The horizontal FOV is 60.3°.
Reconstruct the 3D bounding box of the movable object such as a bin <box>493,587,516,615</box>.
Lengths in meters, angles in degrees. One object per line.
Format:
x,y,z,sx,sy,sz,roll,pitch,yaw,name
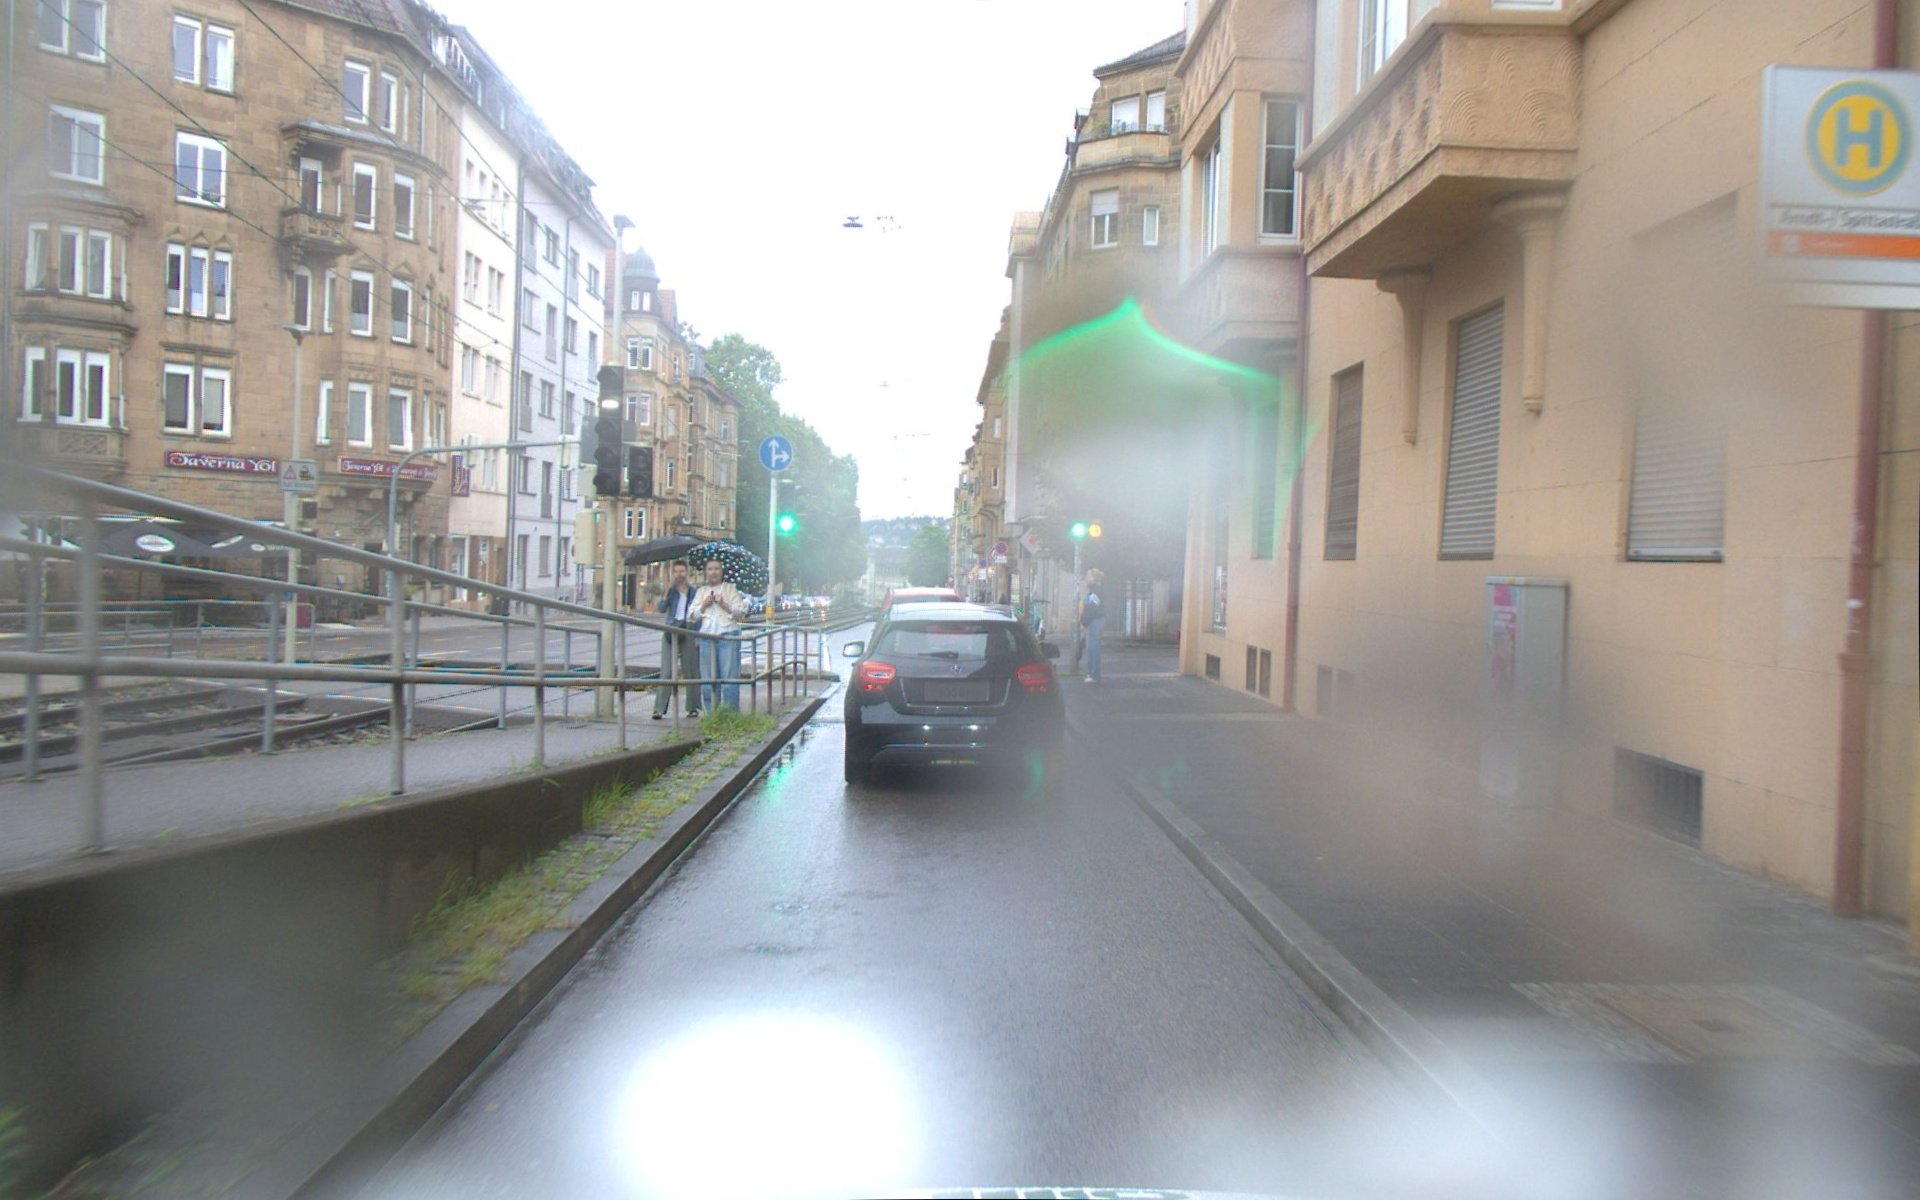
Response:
-18.894,0.055,68.662,0.698,1.092,0.687,4,0,-2,movable object such as a bin

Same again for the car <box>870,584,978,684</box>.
-0.558,0.513,27.127,1.616,1.477,4.000,1,0,0,car

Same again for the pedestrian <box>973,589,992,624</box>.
1.168,0.327,87.123,0.926,1.800,1.014,1,0,-3,pedestrian

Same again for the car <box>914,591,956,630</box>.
-1.054,0.434,69.594,1.729,1.586,4.744,0,0,-1,car

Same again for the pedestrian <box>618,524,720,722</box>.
-3.103,0.240,17.733,0.879,2.049,0.947,2,0,-1,pedestrian

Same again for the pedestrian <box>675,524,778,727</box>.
-2.437,0.262,17.383,0.907,2.049,0.947,2,0,-1,pedestrian

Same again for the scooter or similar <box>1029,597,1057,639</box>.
2.458,0.515,49.351,0.625,1.231,1.551,0,0,-5,scooter or similar

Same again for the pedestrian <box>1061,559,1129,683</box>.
2.116,0.326,26.011,0.945,1.872,0.902,-2,0,1,pedestrian

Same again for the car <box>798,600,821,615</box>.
-14.239,0.685,156.670,1.908,1.421,4.273,-1,0,-1,car

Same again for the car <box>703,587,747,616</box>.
-14.103,0.123,99.415,1.953,1.656,5.251,0,-1,-1,car

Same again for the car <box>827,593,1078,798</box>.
-0.030,0.702,14.259,1.828,1.477,4.000,1,0,1,car

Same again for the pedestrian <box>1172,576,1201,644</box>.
6.141,0.275,44.793,0.582,1.820,0.890,-1,0,-5,pedestrian

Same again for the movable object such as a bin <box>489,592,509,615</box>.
-18.952,0.145,67.973,0.582,0.927,0.560,4,0,-2,movable object such as a bin

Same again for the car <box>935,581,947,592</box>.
-2.558,-1.850,221.456,1.581,1.340,3.999,2,0,-1,car
